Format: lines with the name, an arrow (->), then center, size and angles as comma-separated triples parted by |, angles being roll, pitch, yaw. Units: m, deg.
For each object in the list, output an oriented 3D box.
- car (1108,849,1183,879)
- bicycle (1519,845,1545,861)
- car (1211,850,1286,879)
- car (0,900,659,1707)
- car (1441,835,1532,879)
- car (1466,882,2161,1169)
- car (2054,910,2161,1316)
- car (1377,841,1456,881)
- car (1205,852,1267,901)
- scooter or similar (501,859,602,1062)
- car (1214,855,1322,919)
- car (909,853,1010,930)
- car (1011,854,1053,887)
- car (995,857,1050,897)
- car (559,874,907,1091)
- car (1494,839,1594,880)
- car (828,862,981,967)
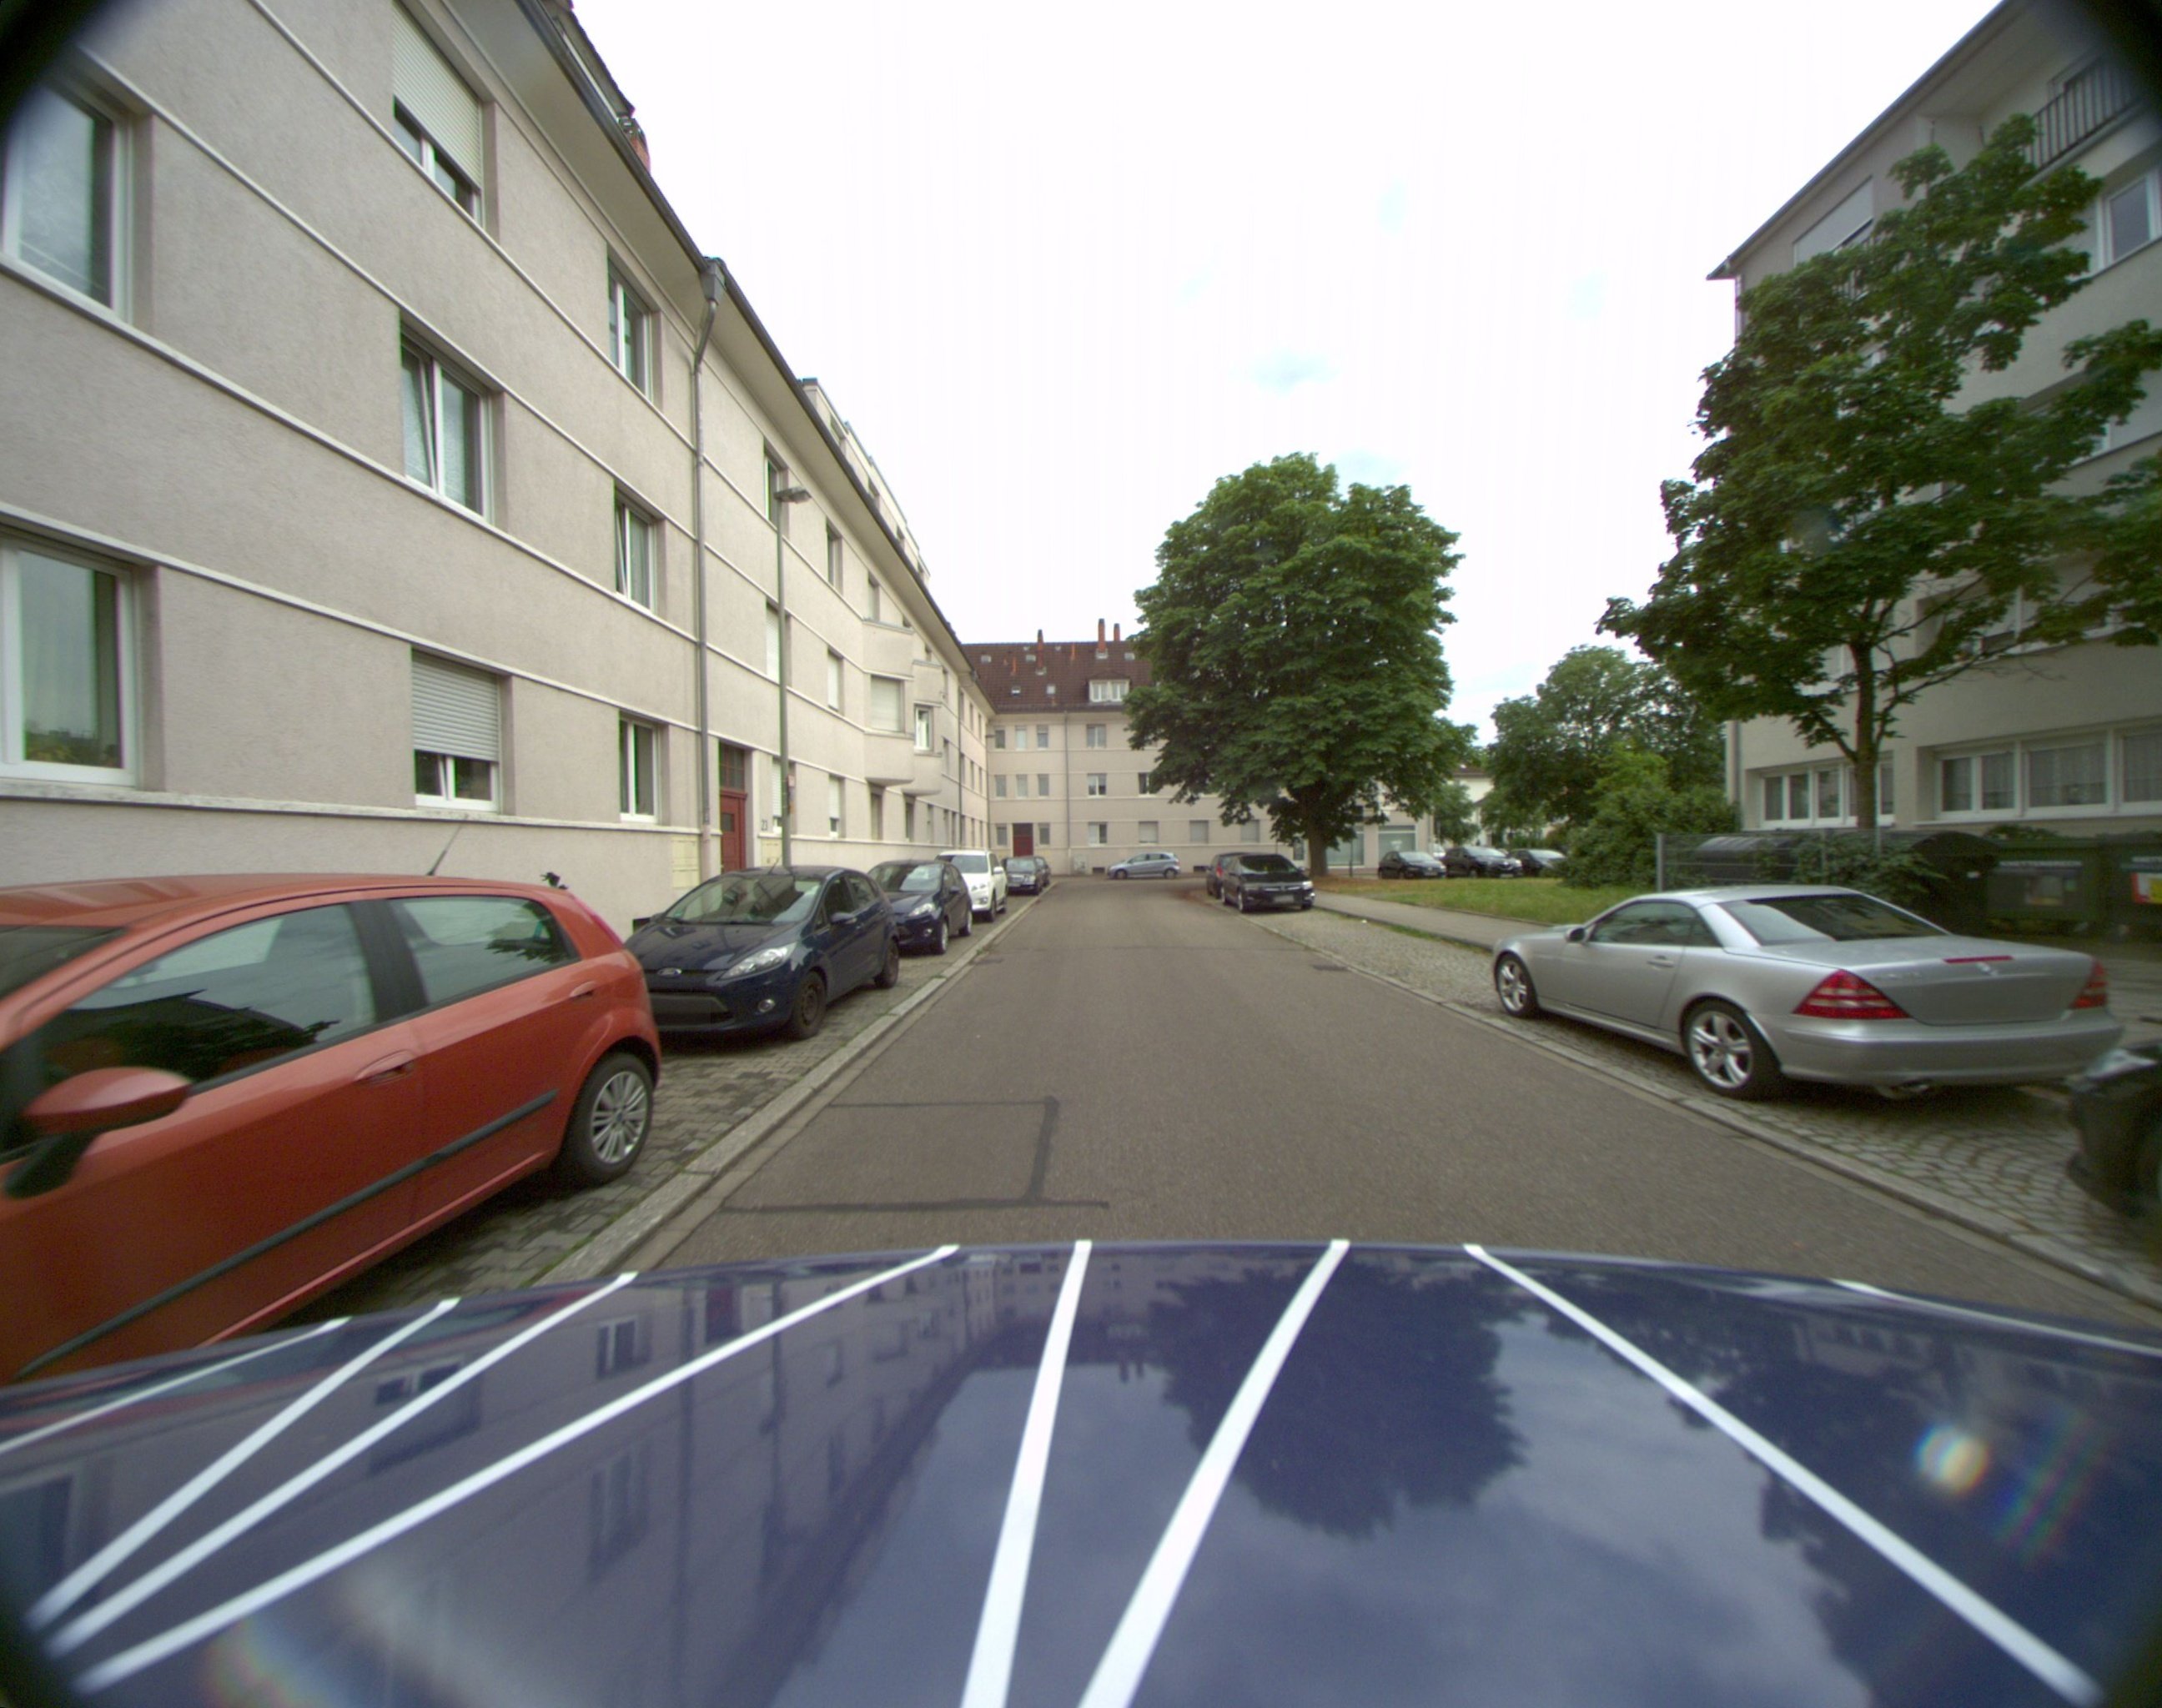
car -> 3.715, 0.567, 43.937 | 4.195, 1.618, 1.763 | -2, 0, 4
bicycle -> 32.234, -0.070, 54.294 | 0.667, 1.060, 1.885 | -1, 0, -2
car -> 9.654, 0.596, 43.923 | 3.933, 1.481, 1.762 | -2, 0, 1
car -> -3.048, 0.997, 1.978 | 1.701, 1.516, 3.826 | 0, 0, 1
car -> 17.023, 0.163, 32.130 | 1.914, 1.687, 4.070 | -2, -1, 5
car -> 4.870, 0.965, 5.937 | 1.701, 1.251, 4.015 | -3, 0, 1
car -> 4.700, 0.896, 0.636 | 1.846, 1.413, 4.629 | -3, 0, 1
car -> 13.984, 0.258, 31.899 | 1.829, 1.568, 3.843 | -1, 0, 3
car -> 5.255, 0.724, 26.148 | 1.528, 1.485, 3.592 | -4, 0, 4
scooter or similar -> -5.530, 1.073, 7.952 | 0.345, 2.002, 0.680 | -3, 1, 40
car -> 5.020, 0.808, 21.086 | 1.872, 1.456, 4.835 | -4, 0, 2
car -> -2.834, 0.818, 18.607 | 1.847, 1.664, 4.289 | 0, 0, -1
car -> -2.317, 0.752, 36.769 | 1.761, 1.516, 4.079 | 0, 0, 0
car -> -2.205, 0.832, 29.798 | 1.749, 1.412, 4.949 | 0, 0, 0
car -> -2.962, 0.982, 7.386 | 1.571, 1.465, 3.696 | 0, 0, 2
car -> 19.509, 0.254, 32.240 | 1.839, 1.556, 4.359 | -2, -1, 5
car -> -2.843, 0.912, 13.057 | 1.571, 1.469, 3.871 | -1, 0, 2
